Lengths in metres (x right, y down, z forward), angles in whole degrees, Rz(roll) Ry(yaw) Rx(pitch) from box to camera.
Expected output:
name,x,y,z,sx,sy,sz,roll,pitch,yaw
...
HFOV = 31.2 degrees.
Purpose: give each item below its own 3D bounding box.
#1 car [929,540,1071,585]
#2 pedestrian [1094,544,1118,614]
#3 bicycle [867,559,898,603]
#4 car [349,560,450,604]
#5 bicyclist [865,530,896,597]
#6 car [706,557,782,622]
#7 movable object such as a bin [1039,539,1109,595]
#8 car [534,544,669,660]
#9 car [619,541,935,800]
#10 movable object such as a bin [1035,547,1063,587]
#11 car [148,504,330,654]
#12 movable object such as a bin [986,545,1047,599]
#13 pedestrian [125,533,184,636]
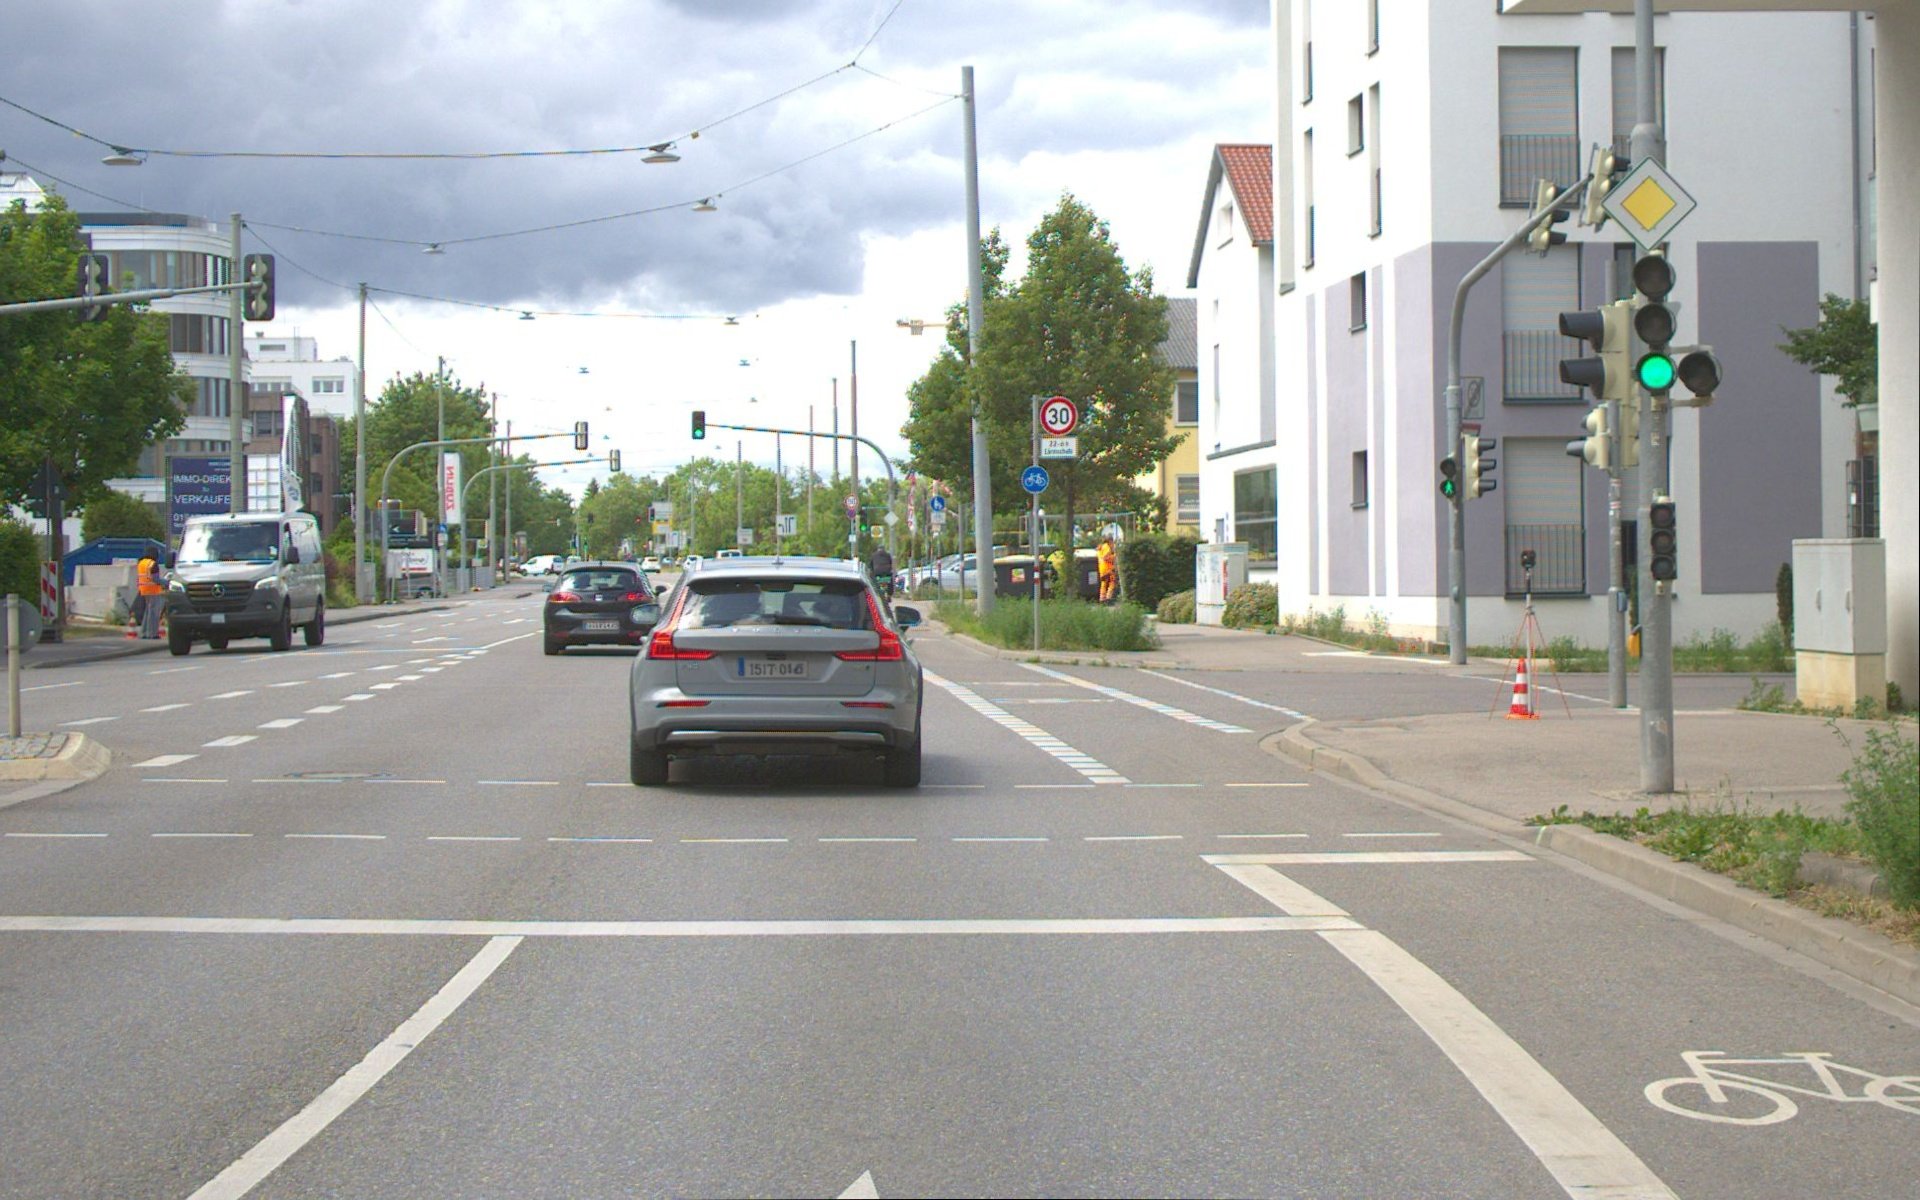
name,x,y,z,sx,sy,sz,roll,pitch,yaw
car,1.362,-1.280,117.327,4.696,1.488,2.046,0,1,-4
pedestrian,3.688,-0.536,86.888,0.507,1.759,0.500,1,0,13
bicycle,-1.986,-0.499,87.843,0.638,1.059,1.978,-4,1,-3
car,-23.961,-0.768,146.889,4.092,1.393,1.909,-7,2,-10
bicyclist,-2.040,-0.935,88.078,0.638,1.670,0.890,-4,1,-3
car,-5.889,-0.269,93.542,1.993,1.689,4.000,1,0,-4
movable object such as a bin,2.931,-0.843,88.550,1.321,1.430,1.249,-1,-1,34
car,-5.614,0.030,53.924,1.993,1.711,4.001,1,0,-6
car,-1.241,0.430,23.039,1.895,1.549,4.000,1,0,-4
movable object such as a bin,2.310,-0.856,89.186,0.567,1.023,0.405,-1,-1,34
car,-12.773,-0.387,61.300,2.142,2.463,6.074,-2,1,-3
movable object such as a bin,1.458,-0.706,88.218,1.320,1.356,1.250,-1,0,13
pedestrian,-15.793,-0.302,67.374,0.725,2.007,0.808,1,0,39
